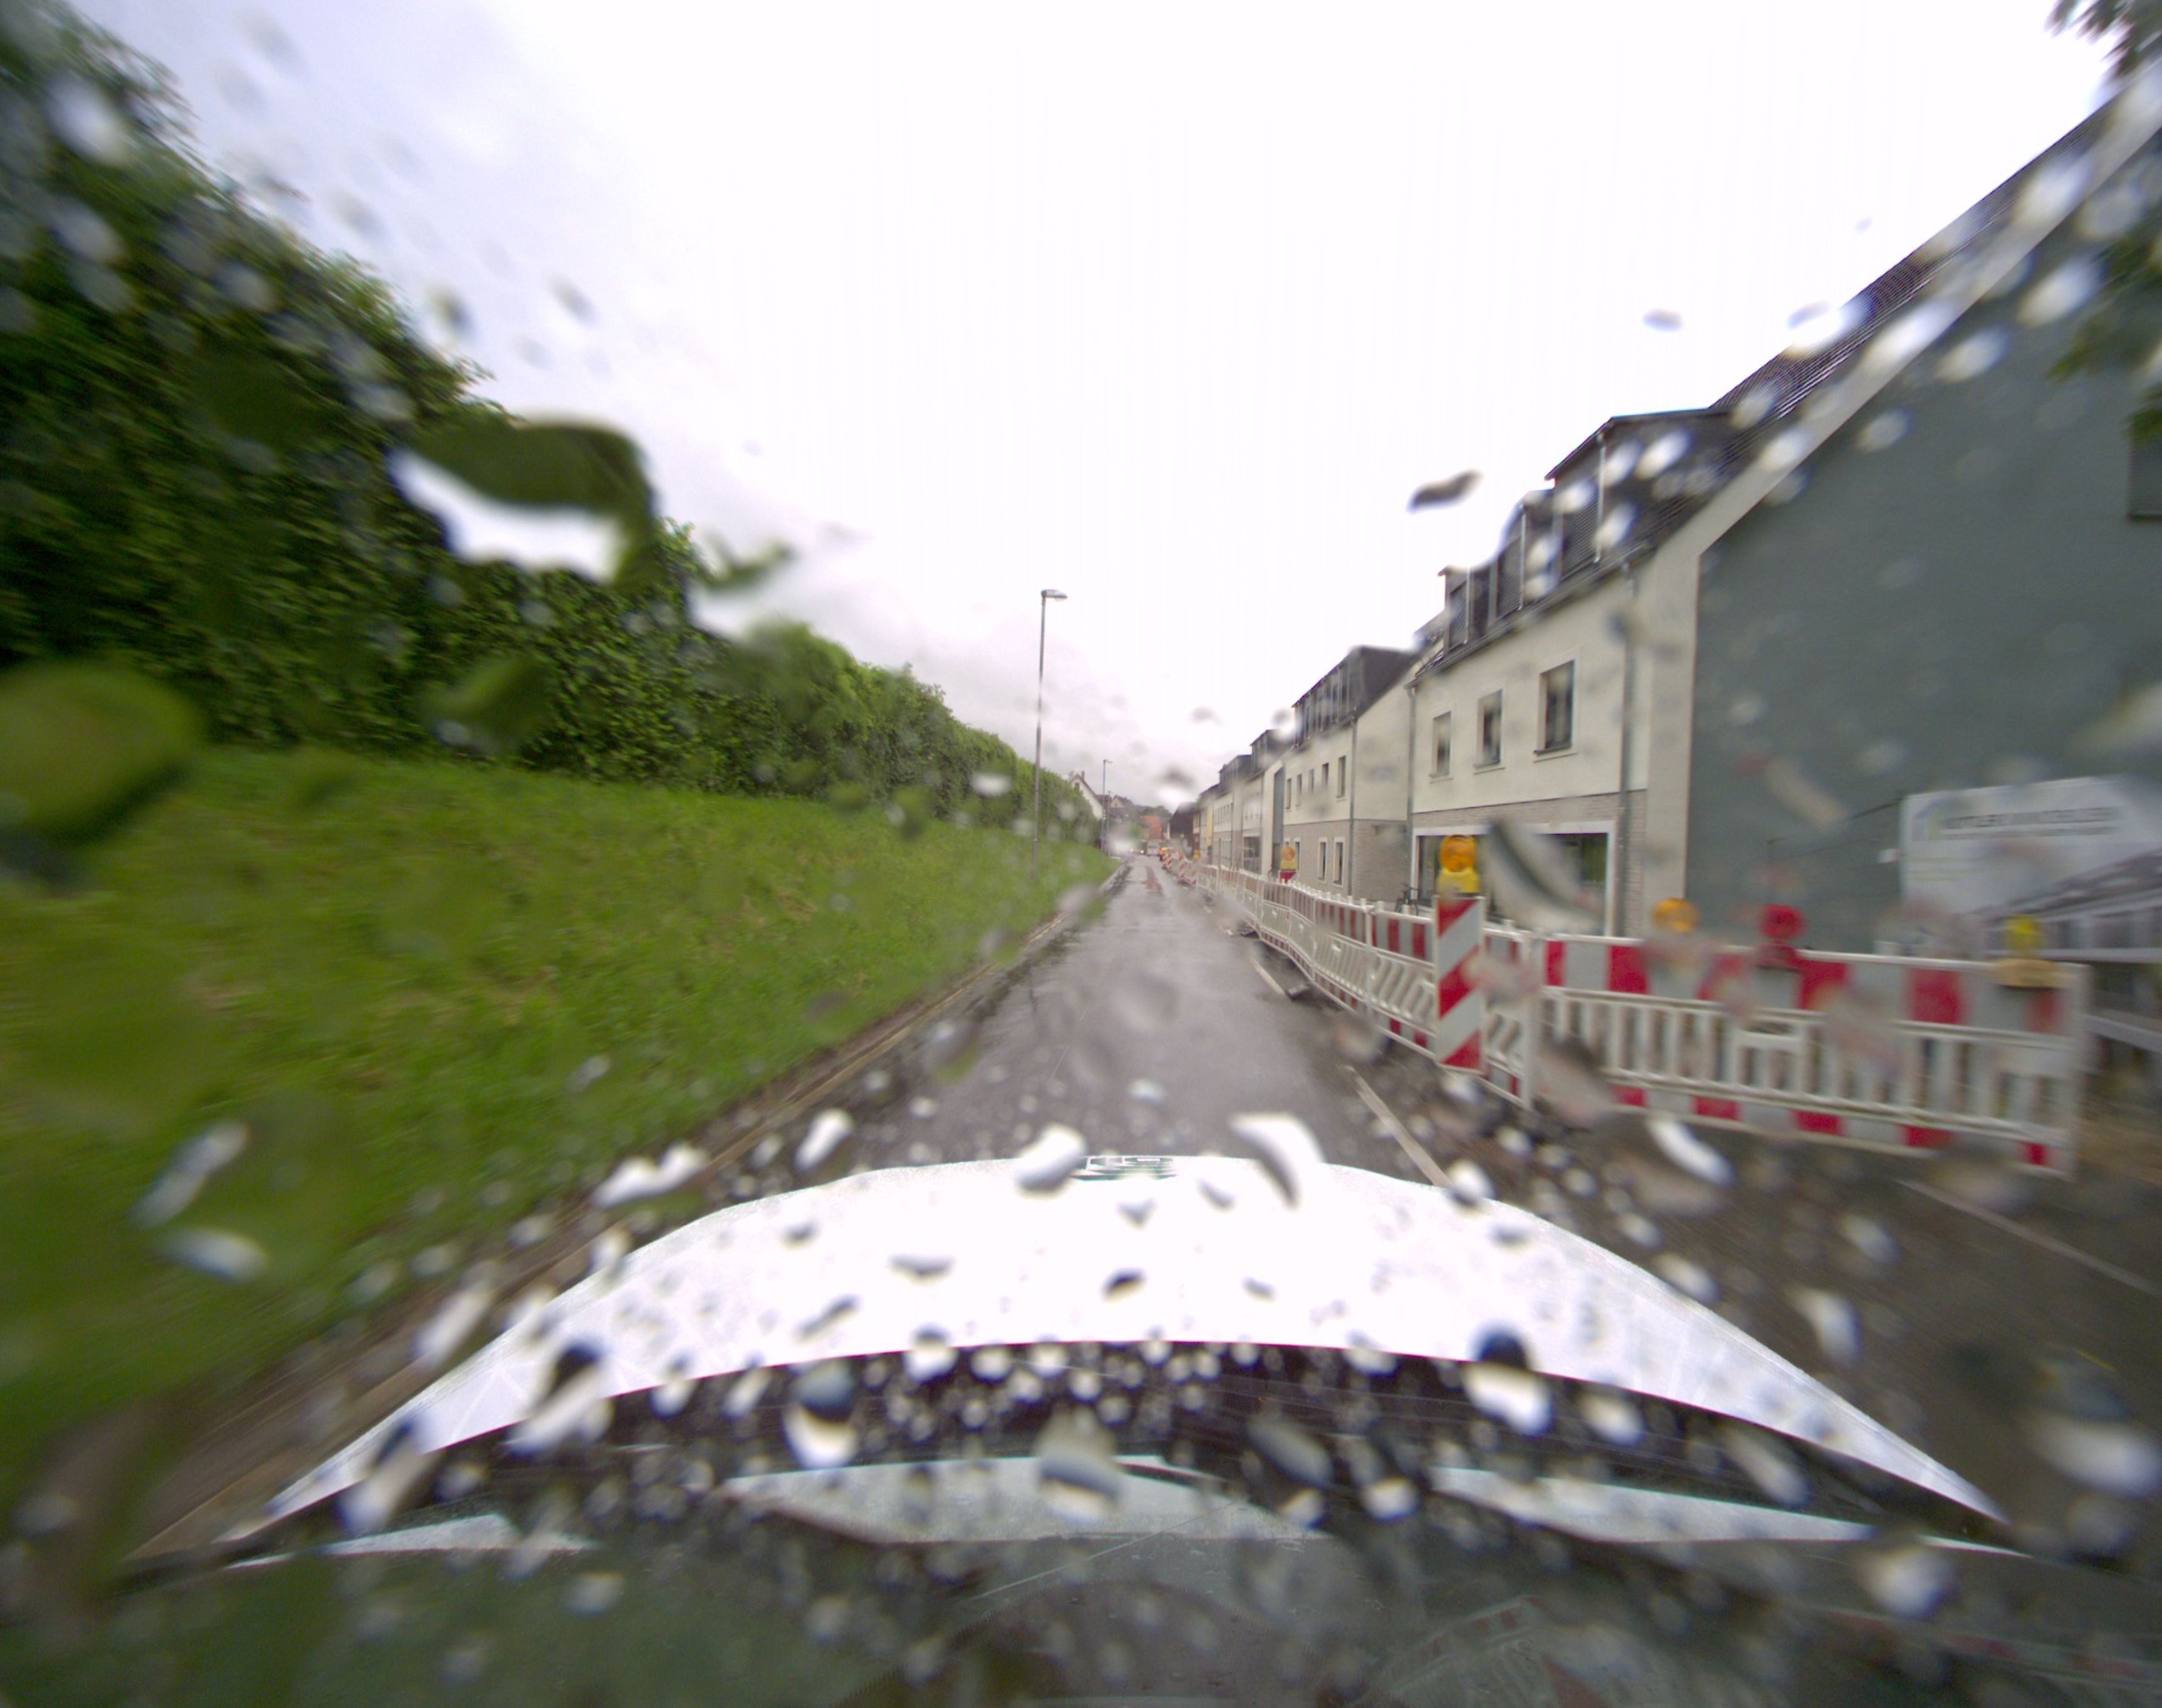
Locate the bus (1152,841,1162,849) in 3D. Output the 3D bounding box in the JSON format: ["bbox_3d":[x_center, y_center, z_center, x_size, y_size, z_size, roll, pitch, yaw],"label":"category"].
[{"bbox_3d":[15.373,-1.754,164.210,1.785,1.409,4.007,3,0,7],"label":"bus"}]

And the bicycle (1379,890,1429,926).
[{"bbox_3d":[7.678,1.265,19.431,0.494,0.697,1.740,-4,0,1],"label":"bicycle"}]

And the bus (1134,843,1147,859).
[{"bbox_3d":[12.106,-0.622,166.128,2.230,3.102,7.042,3,0,6],"label":"bus"}]

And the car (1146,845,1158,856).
[{"bbox_3d":[11.937,-0.563,136.440,1.810,1.642,4.100,-4,0,4],"label":"car"}]

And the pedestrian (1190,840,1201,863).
[{"bbox_3d":[8.900,-0.188,63.294,0.663,1.755,0.812,-4,0,2],"label":"pedestrian"}]

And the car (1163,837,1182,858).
[{"bbox_3d":[11.231,-0.796,100.426,1.984,2.375,4.100,-4,0,4],"label":"car"}]
